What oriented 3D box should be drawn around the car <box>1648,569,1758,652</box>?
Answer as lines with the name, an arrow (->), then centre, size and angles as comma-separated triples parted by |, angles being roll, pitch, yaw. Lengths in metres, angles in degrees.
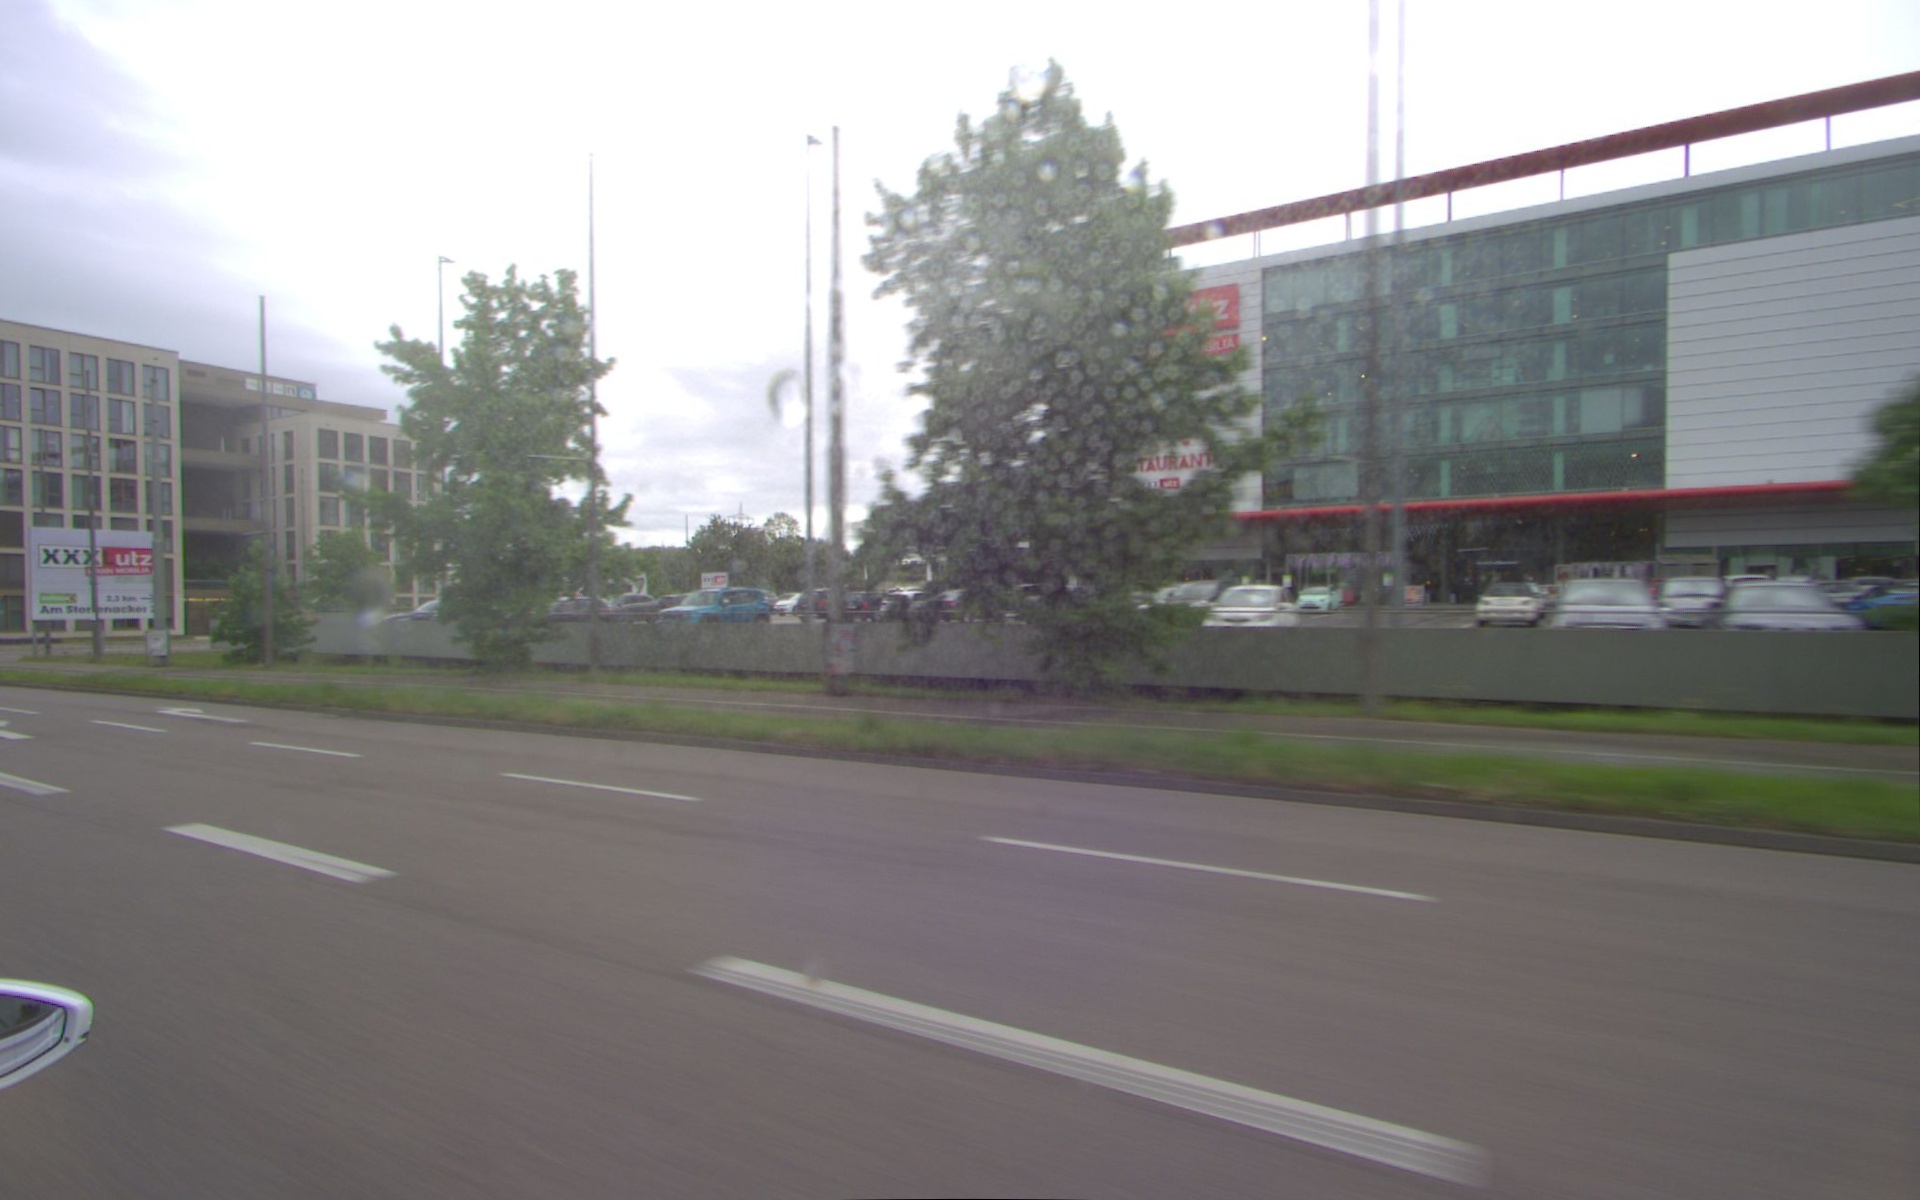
car -> 19.823, 0.312, 26.899 | 1.971, 2.040, 4.169 | -1, -1, 31

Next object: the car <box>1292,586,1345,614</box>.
car -> 18.431, 0.010, 51.411 | 1.678, 1.394, 3.584 | 2, 0, 34

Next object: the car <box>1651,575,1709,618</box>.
car -> 28.126, -0.108, 39.110 | 1.719, 1.575, 3.780 | 2, 1, 37

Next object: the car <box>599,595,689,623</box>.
car -> -16.073, 0.475, 51.045 | 1.731, 1.333, 4.089 | 2, 1, 40

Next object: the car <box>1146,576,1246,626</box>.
car -> 8.301, 0.006, 34.946 | 1.972, 1.613, 4.356 | 2, 1, 34

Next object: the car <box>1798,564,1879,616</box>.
car -> 31.892, -0.300, 36.455 | 1.871, 1.772, 3.974 | -1, -1, 36

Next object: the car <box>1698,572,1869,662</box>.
car -> 14.651, 0.275, 18.041 | 1.737, 1.418, 4.047 | 2, 0, 31

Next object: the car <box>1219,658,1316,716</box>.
car -> 8.705, 2.380, 28.130 | 1.738, 1.368, 4.049 | -1, -1, 30

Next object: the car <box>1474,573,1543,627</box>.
car -> 18.562, 0.004, 33.807 | 1.709, 1.724, 3.727 | 2, 1, 33

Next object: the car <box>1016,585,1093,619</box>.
car -> 4.022, 0.096, 42.232 | 1.677, 1.374, 3.623 | 2, 0, 34

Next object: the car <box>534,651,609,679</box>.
car -> -20.831, 3.468, 53.782 | 1.438, 1.303, 3.611 | 2, 0, 34

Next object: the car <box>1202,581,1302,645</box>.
car -> 6.792, 0.287, 23.099 | 1.580, 1.325, 3.512 | 2, 0, 27

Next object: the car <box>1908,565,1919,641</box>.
car -> 17.299, 0.059, 16.308 | 1.783, 1.368, 4.145 | 2, 0, 31

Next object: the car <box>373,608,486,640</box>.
car -> -21.254, 0.951, 40.257 | 1.695, 1.192, 3.686 | 1, 0, 32

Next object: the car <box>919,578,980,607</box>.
car -> -0.574, -0.440, 57.531 | 1.580, 1.576, 3.620 | 2, 1, 36

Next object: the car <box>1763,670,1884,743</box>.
car -> 23.809, 2.864, 27.775 | 1.757, 1.644, 3.983 | -1, -1, 29

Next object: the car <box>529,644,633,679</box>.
car -> -16.502, 2.644, 43.807 | 1.738, 1.368, 4.047 | -1, -1, 32

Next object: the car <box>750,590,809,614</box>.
car -> -12.697, 0.145, 70.590 | 1.840, 1.598, 3.979 | -1, -1, 33

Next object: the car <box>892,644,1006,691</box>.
car -> -0.243, 1.815, 27.574 | 1.494, 1.146, 3.507 | -1, -1, 32

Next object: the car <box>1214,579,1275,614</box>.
car -> 13.858, -0.155, 48.657 | 1.678, 1.576, 3.620 | 2, 1, 36

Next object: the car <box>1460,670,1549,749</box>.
car -> 13.559, 2.631, 24.841 | 1.738, 1.571, 4.047 | -1, -1, 32

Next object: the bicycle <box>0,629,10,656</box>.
bicycle -> -47.444, 2.060, 48.562 | 1.972, 1.312, 0.702 | 0, 0, -3

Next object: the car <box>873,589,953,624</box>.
car -> -2.137, 0.274, 46.356 | 1.759, 1.528, 3.832 | 1, 1, 35

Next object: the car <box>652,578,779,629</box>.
car -> -7.938, 0.105, 32.833 | 1.784, 1.545, 4.064 | 1, 0, 29

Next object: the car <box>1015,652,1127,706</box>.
car -> 2.838, 1.931, 25.091 | 1.434, 1.146, 3.507 | -1, -1, 32

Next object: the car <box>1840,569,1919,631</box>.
car -> 26.430, -0.038, 28.090 | 1.805, 1.645, 3.981 | -1, 1, 29

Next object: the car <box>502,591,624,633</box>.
car -> -14.272, 0.426, 36.192 | 1.694, 1.402, 3.867 | 1, 0, 31

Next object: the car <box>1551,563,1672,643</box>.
car -> 12.369, 0.055, 19.204 | 1.737, 1.368, 4.047 | 2, 0, 31

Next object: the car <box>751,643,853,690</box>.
car -> -6.861, 2.841, 43.857 | 1.973, 1.856, 4.357 | -1, -1, 34

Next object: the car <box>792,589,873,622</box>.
car -> -6.168, 0.262, 48.744 | 1.760, 1.528, 3.831 | 1, 1, 36

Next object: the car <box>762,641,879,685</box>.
car -> -4.057, 1.832, 29.572 | 1.583, 1.146, 3.507 | -1, -1, 32

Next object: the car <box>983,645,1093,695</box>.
car -> 2.539, 2.160, 31.702 | 1.739, 1.368, 4.045 | -1, -1, 33

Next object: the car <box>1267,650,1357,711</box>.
car -> 12.446, 2.753, 35.230 | 1.973, 1.856, 4.357 | -1, -1, 34

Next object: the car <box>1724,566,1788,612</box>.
car -> 29.882, -0.353, 37.655 | 1.717, 1.608, 3.557 | -1, -1, 36

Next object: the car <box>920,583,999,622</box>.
car -> 0.016, 0.125, 44.223 | 1.678, 1.655, 3.620 | 2, 1, 36

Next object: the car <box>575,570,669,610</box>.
car -> -20.120, -0.552, 59.798 | 2.136, 2.240, 4.996 | 2, 1, 36

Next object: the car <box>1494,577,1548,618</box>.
car -> 23.526, -0.073, 42.067 | 1.837, 1.607, 4.281 | 2, 0, 29

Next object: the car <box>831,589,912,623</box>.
car -> -4.157, 0.256, 47.549 | 1.760, 1.528, 3.831 | 1, 1, 36

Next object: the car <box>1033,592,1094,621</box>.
car -> 5.634, 0.363, 54.187 | 1.679, 1.516, 3.620 | 2, 1, 37

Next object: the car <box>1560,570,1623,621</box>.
car -> 20.323, -0.137, 32.201 | 1.589, 1.546, 3.554 | 2, 1, 33

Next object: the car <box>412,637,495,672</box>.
car -> -31.358, 3.322, 61.949 | 5.037, 2.040, 2.450 | -1, -1, 33

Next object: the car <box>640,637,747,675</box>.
car -> -10.608, 2.194, 40.104 | 1.739, 1.368, 4.046 | -1, -1, 33

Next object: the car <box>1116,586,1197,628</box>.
car -> 7.828, 0.287, 39.566 | 1.819, 1.539, 4.223 | 2, 0, 31

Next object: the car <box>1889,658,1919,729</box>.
car -> 20.596, 1.950, 20.368 | 1.739, 1.368, 4.047 | -1, -1, 32
